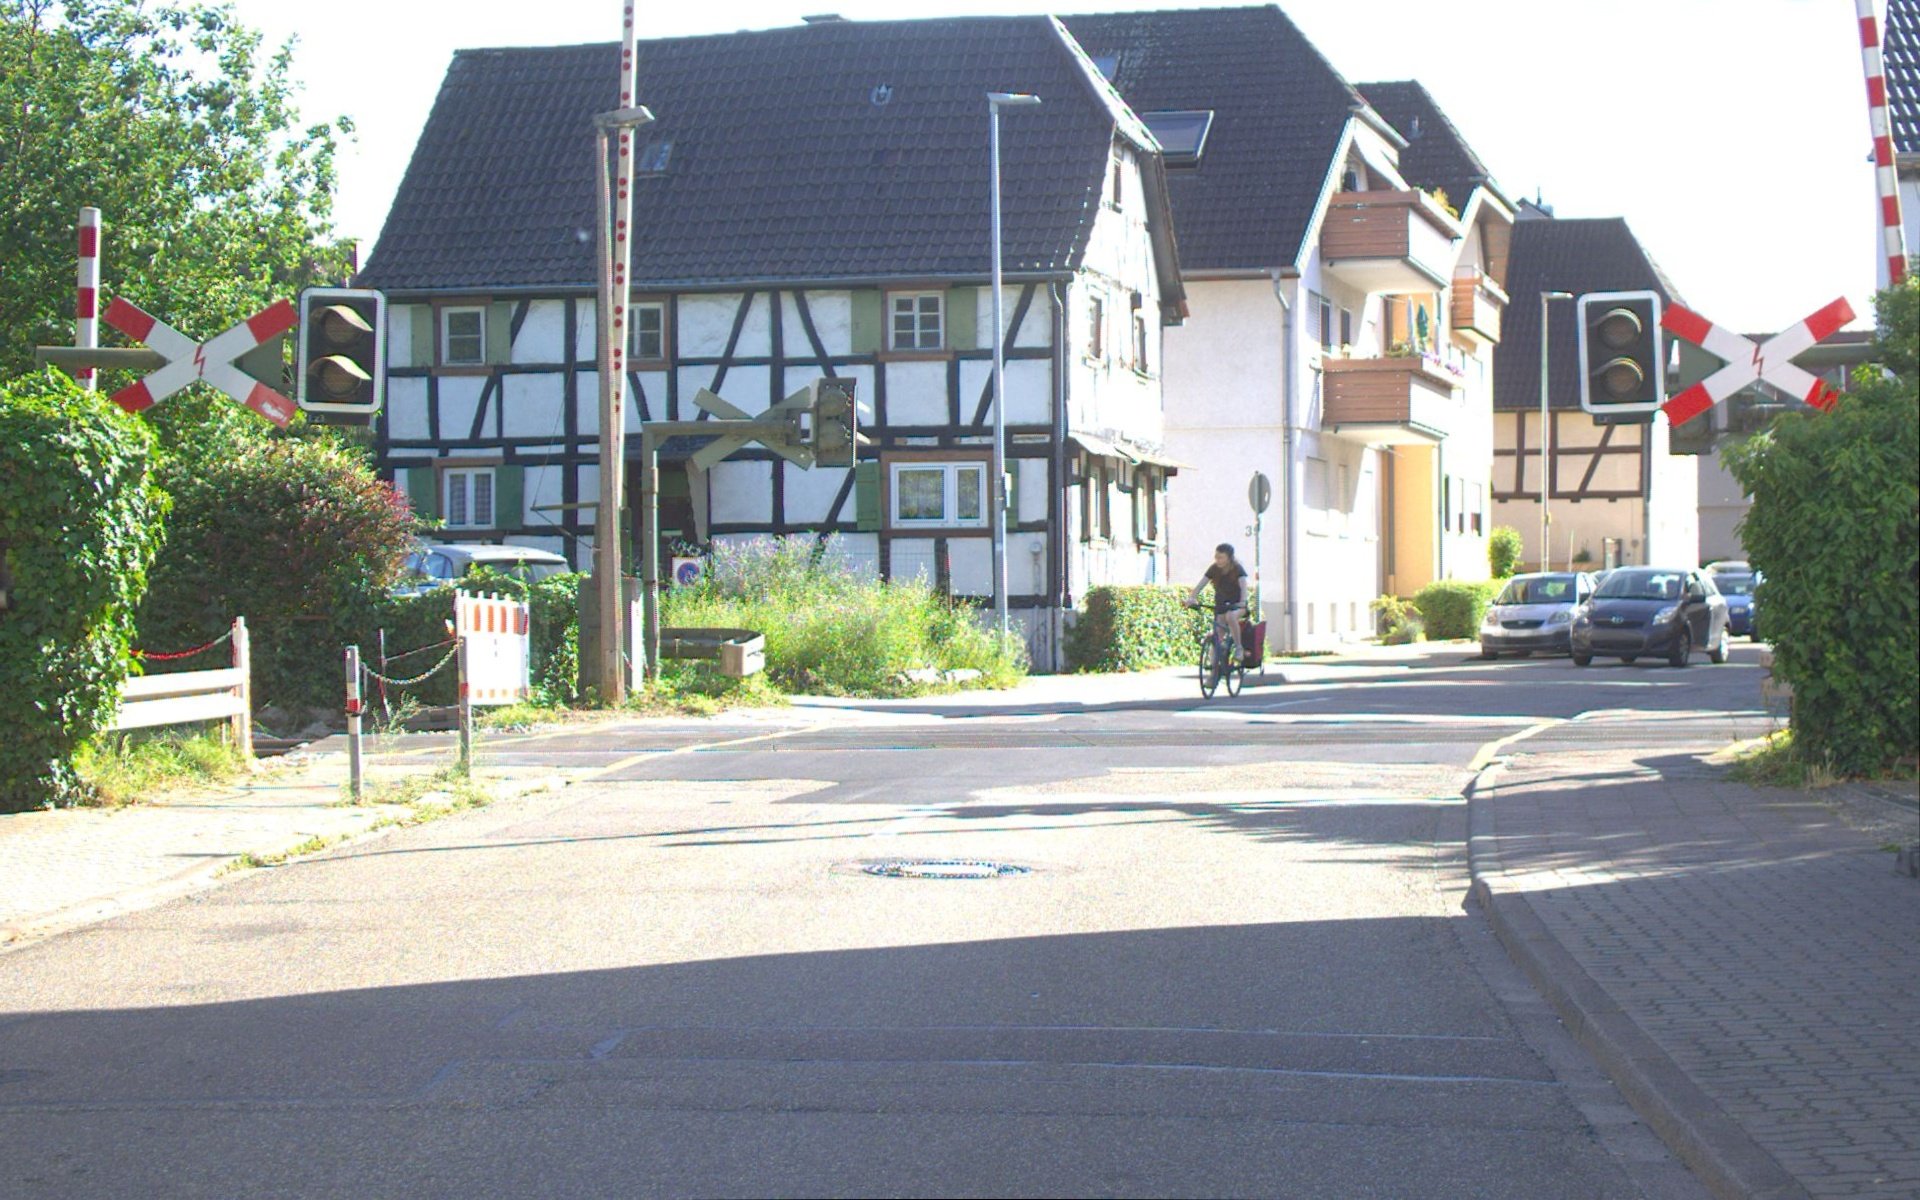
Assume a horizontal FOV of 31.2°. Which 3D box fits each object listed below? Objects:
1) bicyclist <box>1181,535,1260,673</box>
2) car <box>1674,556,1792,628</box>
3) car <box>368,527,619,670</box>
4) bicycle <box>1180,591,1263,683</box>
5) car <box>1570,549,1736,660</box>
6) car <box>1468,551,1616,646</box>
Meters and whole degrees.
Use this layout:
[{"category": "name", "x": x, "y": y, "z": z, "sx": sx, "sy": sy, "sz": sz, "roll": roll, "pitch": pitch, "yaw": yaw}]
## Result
[{"category": "bicyclist", "x": 2.948, "y": 0.047, "z": 38.998, "sx": 0.848, "sy": 1.536, "sz": 0.873, "roll": -1, "pitch": -1, "yaw": 3}, {"category": "car", "x": 16.162, "y": -0.159, "z": 71.761, "sx": 1.641, "sy": 1.436, "sz": 4.070, "roll": -1, "pitch": 0, "yaw": 24}, {"category": "car", "x": -5.522, "y": -0.039, "z": 40.308, "sx": 1.683, "sy": 1.559, "sz": 4.001, "roll": 2, "pitch": 0, "yaw": -26}, {"category": "bicycle", "x": 2.948, "y": 0.412, "z": 38.939, "sx": 0.883, "sy": 1.002, "sz": 2.062, "roll": -1, "pitch": -1, "yaw": 3}, {"category": "car", "x": 10.586, "y": 0.038, "z": 52.356, "sx": 1.688, "sy": 1.505, "sz": 3.650, "roll": 3, "pitch": 3, "yaw": 24}, {"category": "car", "x": 9.980, "y": -0.045, "z": 58.742, "sx": 1.632, "sy": 1.501, "sz": 3.848, "roll": -3, "pitch": 0, "yaw": 22}]
